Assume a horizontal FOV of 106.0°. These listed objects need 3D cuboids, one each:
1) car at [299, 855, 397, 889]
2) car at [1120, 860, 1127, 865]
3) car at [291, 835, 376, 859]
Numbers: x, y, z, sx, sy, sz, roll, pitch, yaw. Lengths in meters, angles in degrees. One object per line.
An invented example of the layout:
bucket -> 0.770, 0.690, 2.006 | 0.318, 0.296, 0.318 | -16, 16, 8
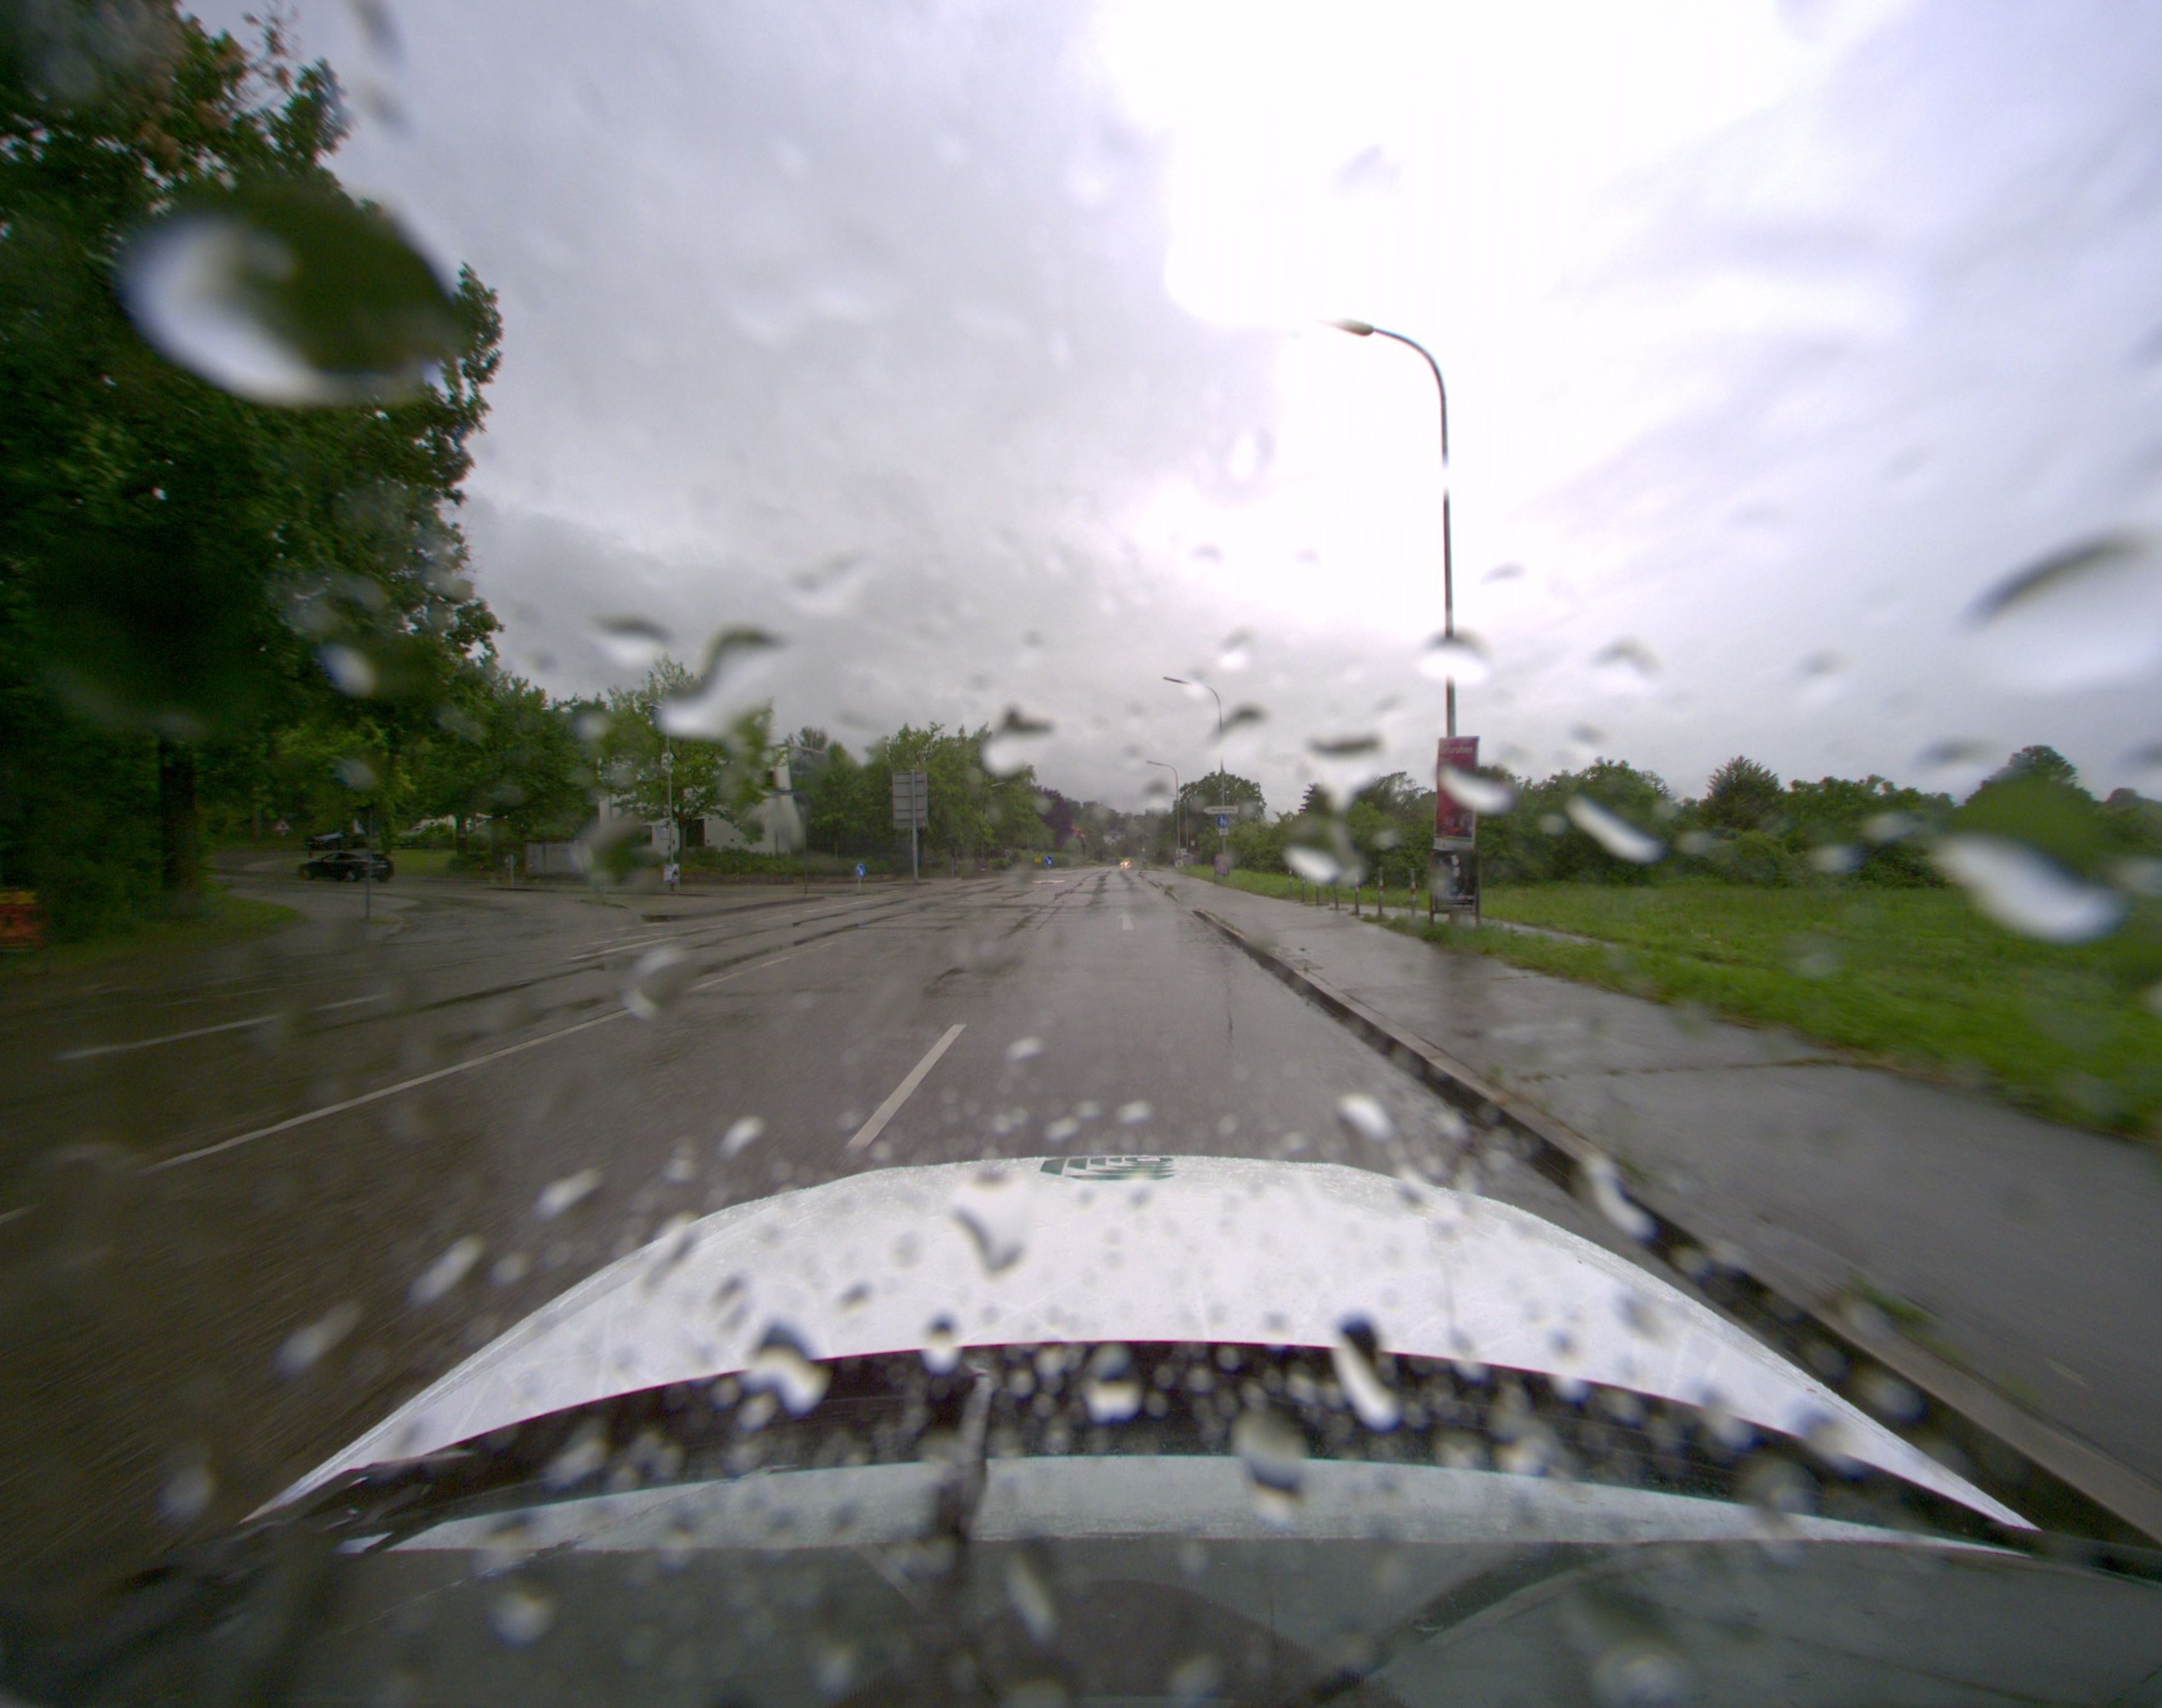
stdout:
car -> -39.831, 0.980, 44.291 | 3.963, 1.762, 1.805 | 0, 0, 9
car -> 11.689, 2.317, 224.774 | 1.694, 1.349, 3.909 | -1, -1, 4
car -> -58.123, -0.521, 63.387 | 1.976, 1.762, 4.421 | 2, 1, 23
